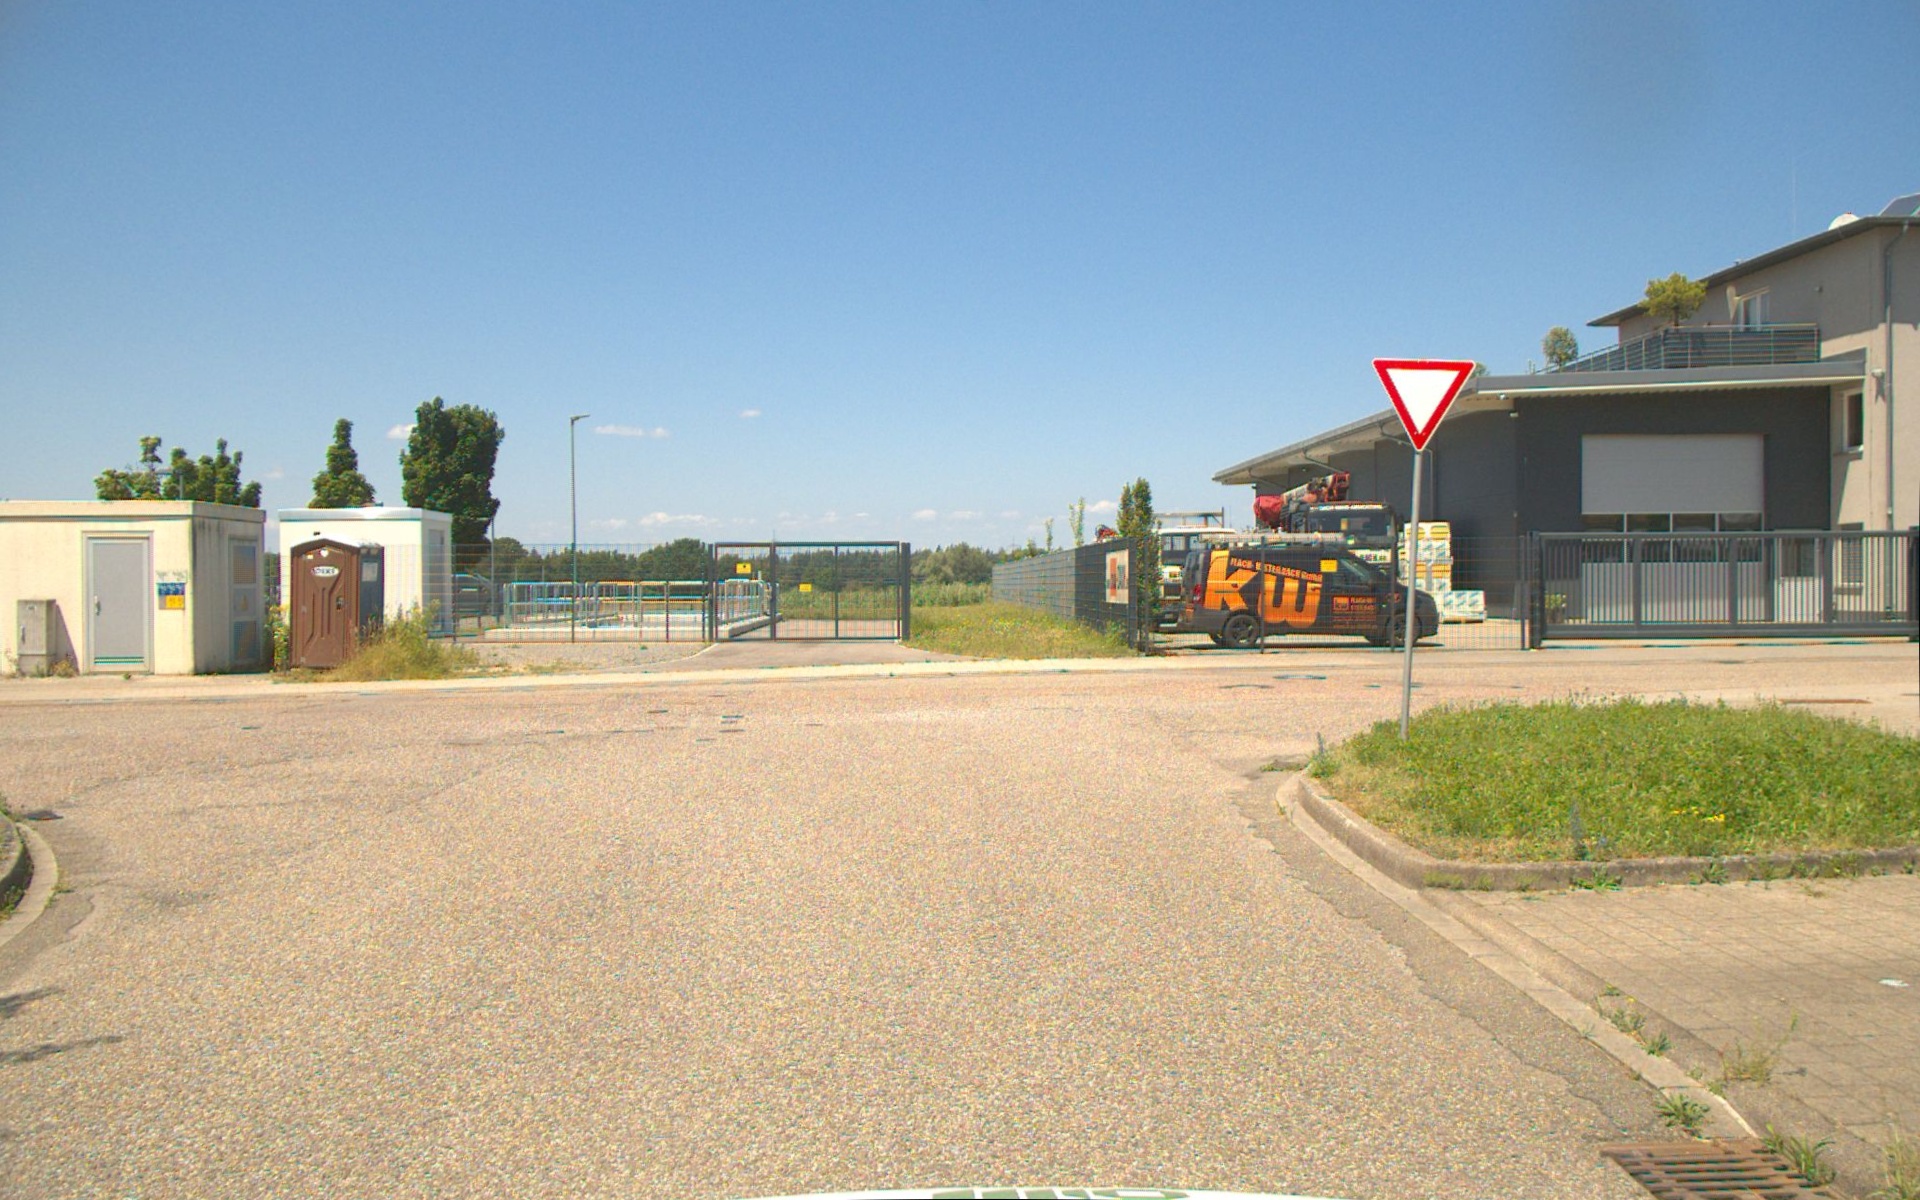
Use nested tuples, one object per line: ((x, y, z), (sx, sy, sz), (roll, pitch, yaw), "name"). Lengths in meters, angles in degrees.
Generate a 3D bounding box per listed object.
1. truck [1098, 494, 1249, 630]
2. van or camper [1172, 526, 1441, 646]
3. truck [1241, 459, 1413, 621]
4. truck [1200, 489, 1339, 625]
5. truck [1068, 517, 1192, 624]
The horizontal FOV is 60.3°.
((5.254, -0.915, 41.904), (2.672, 3.115, 6.933), (-1, 1, -2), "truck")
((6.763, -0.299, 32.615), (4.837, 2.201, 2.000), (-1, 1, -2), "van or camper")
((9.766, -1.529, 44.800), (2.862, 3.998, 6.933), (-1, 0, -2), "truck")
((9.718, -1.314, 52.652), (2.862, 3.998, 6.933), (-1, 0, -2), "truck")
((5.077, -0.876, 50.637), (2.862, 2.989, 6.933), (-1, 1, -2), "truck")
